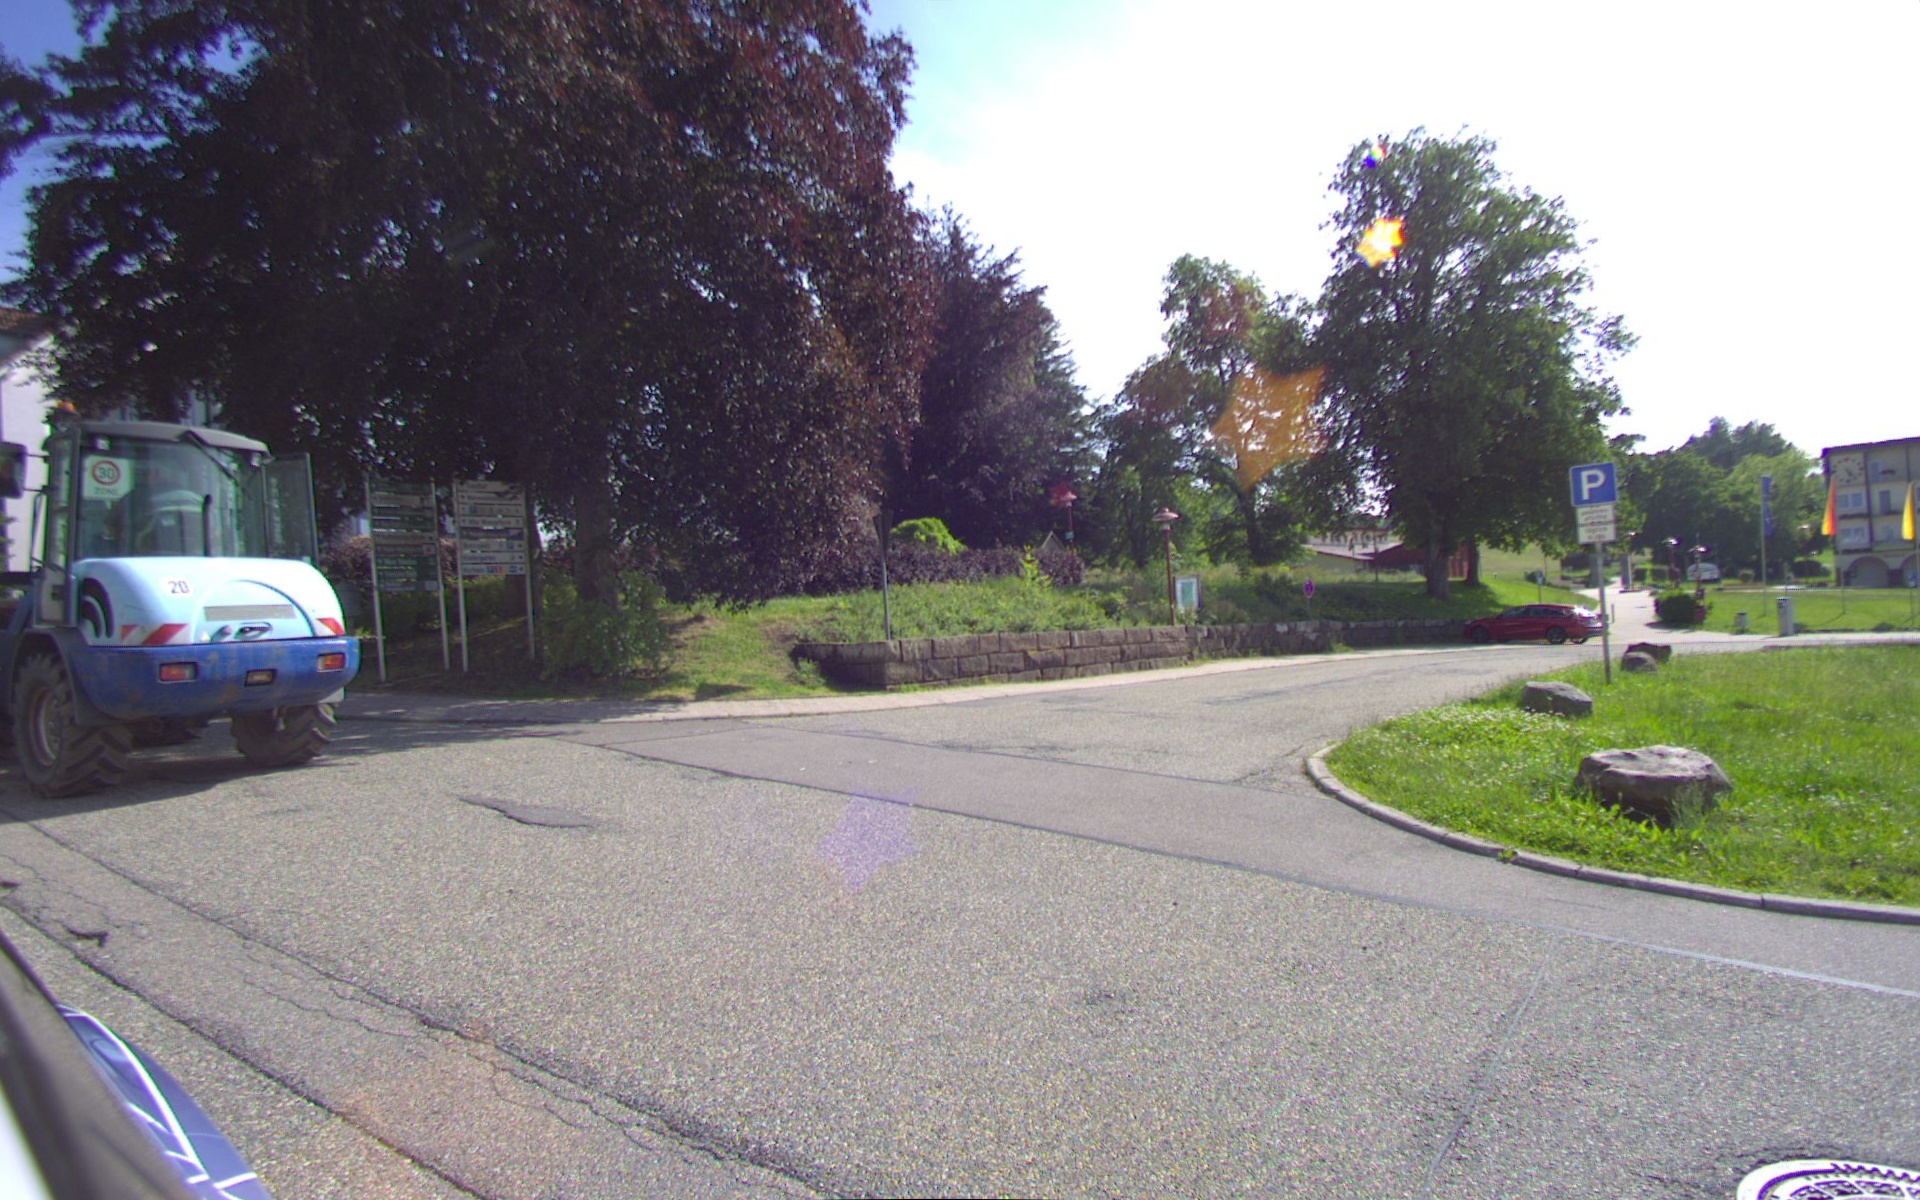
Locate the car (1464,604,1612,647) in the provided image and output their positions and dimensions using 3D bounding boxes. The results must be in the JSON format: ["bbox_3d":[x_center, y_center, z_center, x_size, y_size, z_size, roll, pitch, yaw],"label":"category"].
[{"bbox_3d":[20.677,0.896,36.354,1.793,1.409,4.250,-1,-1,-32],"label":"car"}]

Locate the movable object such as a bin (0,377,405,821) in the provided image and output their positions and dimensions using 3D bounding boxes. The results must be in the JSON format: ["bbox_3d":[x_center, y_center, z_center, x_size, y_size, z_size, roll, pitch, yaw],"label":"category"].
[{"bbox_3d":[-7.130,-0.042,8.503,5.084,2.790,1.980,1,0,30],"label":"movable object such as a bin"}]
